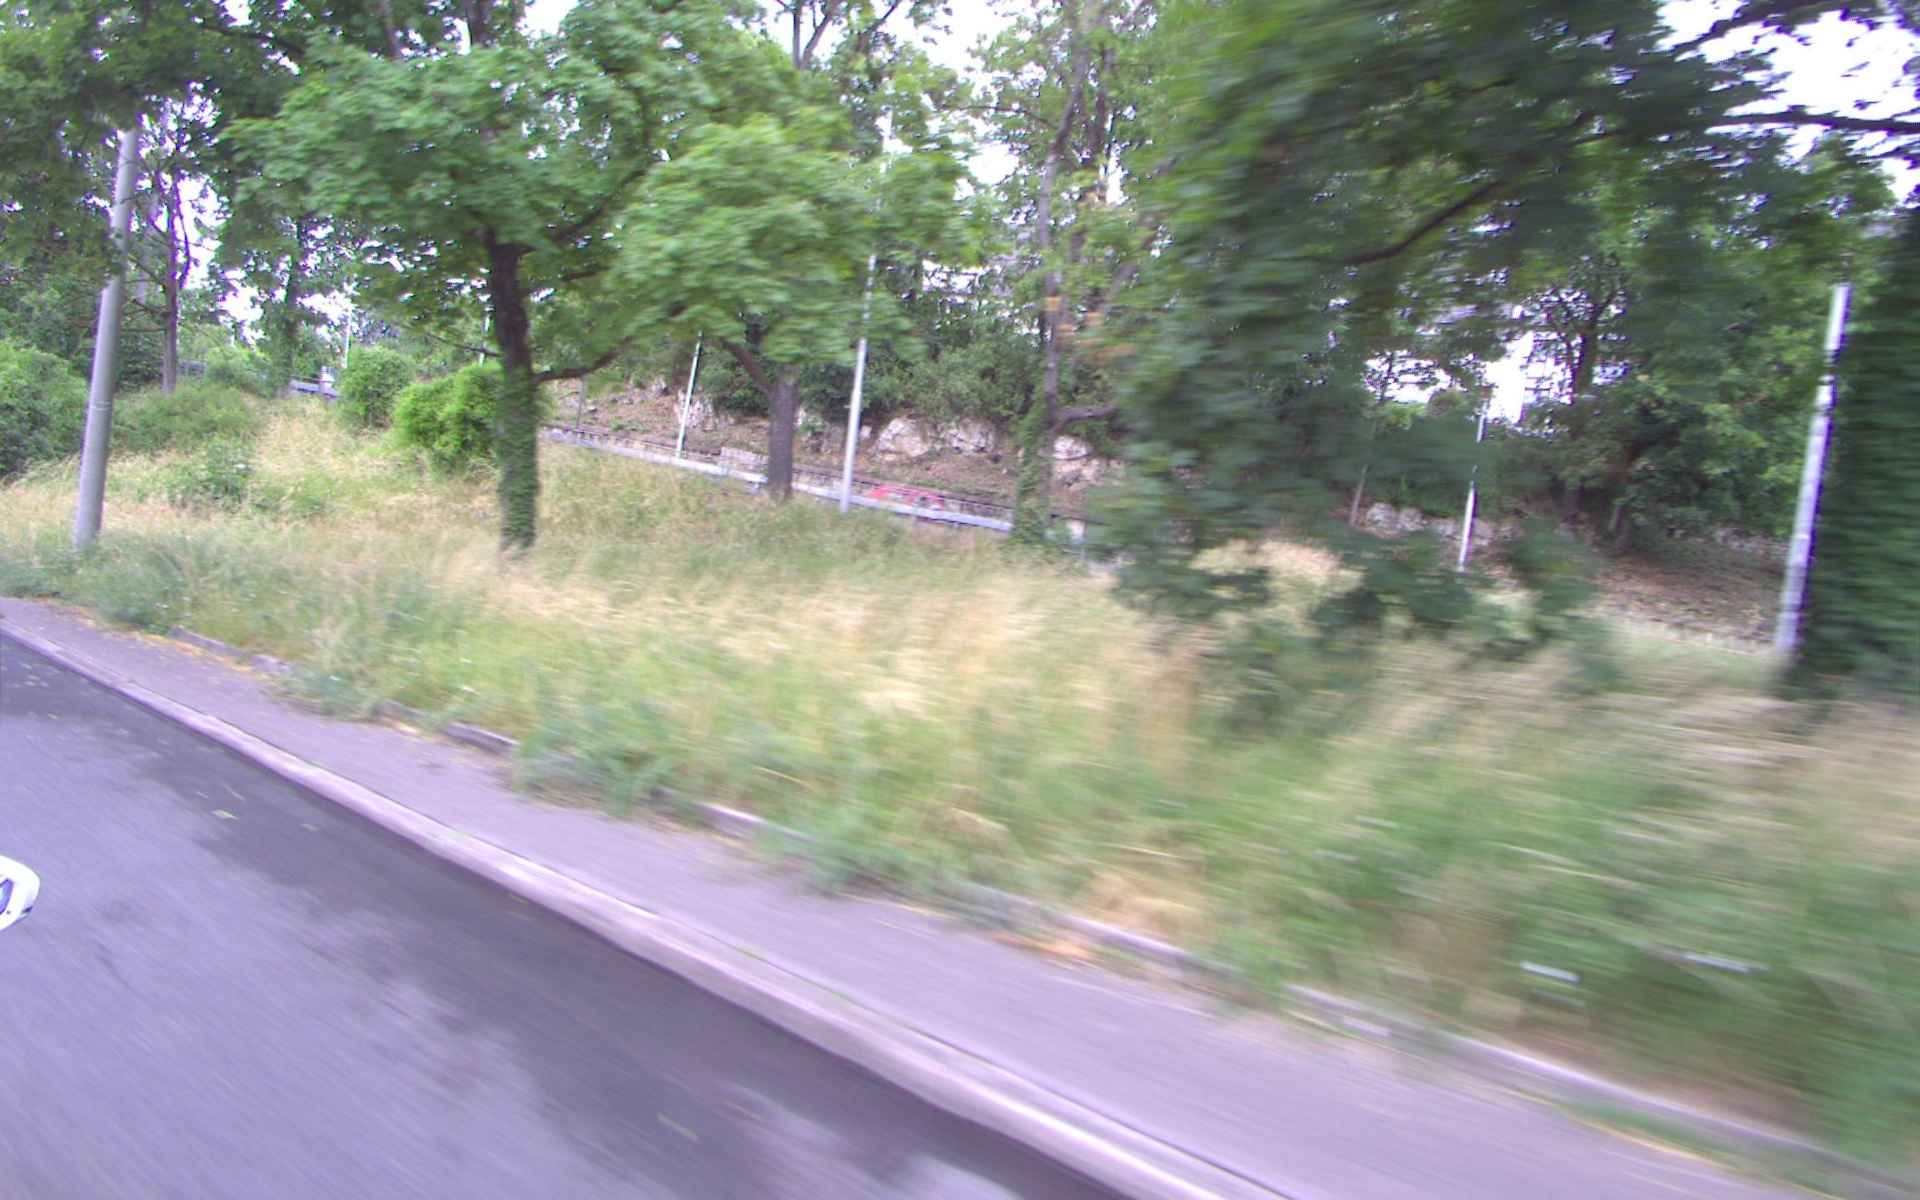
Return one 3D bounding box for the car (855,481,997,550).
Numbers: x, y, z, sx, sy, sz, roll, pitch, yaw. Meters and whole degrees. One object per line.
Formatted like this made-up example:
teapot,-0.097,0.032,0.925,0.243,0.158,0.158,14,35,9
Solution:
car,-1.029,-2.605,31.327,3.924,1.528,1.801,7,-1,14
